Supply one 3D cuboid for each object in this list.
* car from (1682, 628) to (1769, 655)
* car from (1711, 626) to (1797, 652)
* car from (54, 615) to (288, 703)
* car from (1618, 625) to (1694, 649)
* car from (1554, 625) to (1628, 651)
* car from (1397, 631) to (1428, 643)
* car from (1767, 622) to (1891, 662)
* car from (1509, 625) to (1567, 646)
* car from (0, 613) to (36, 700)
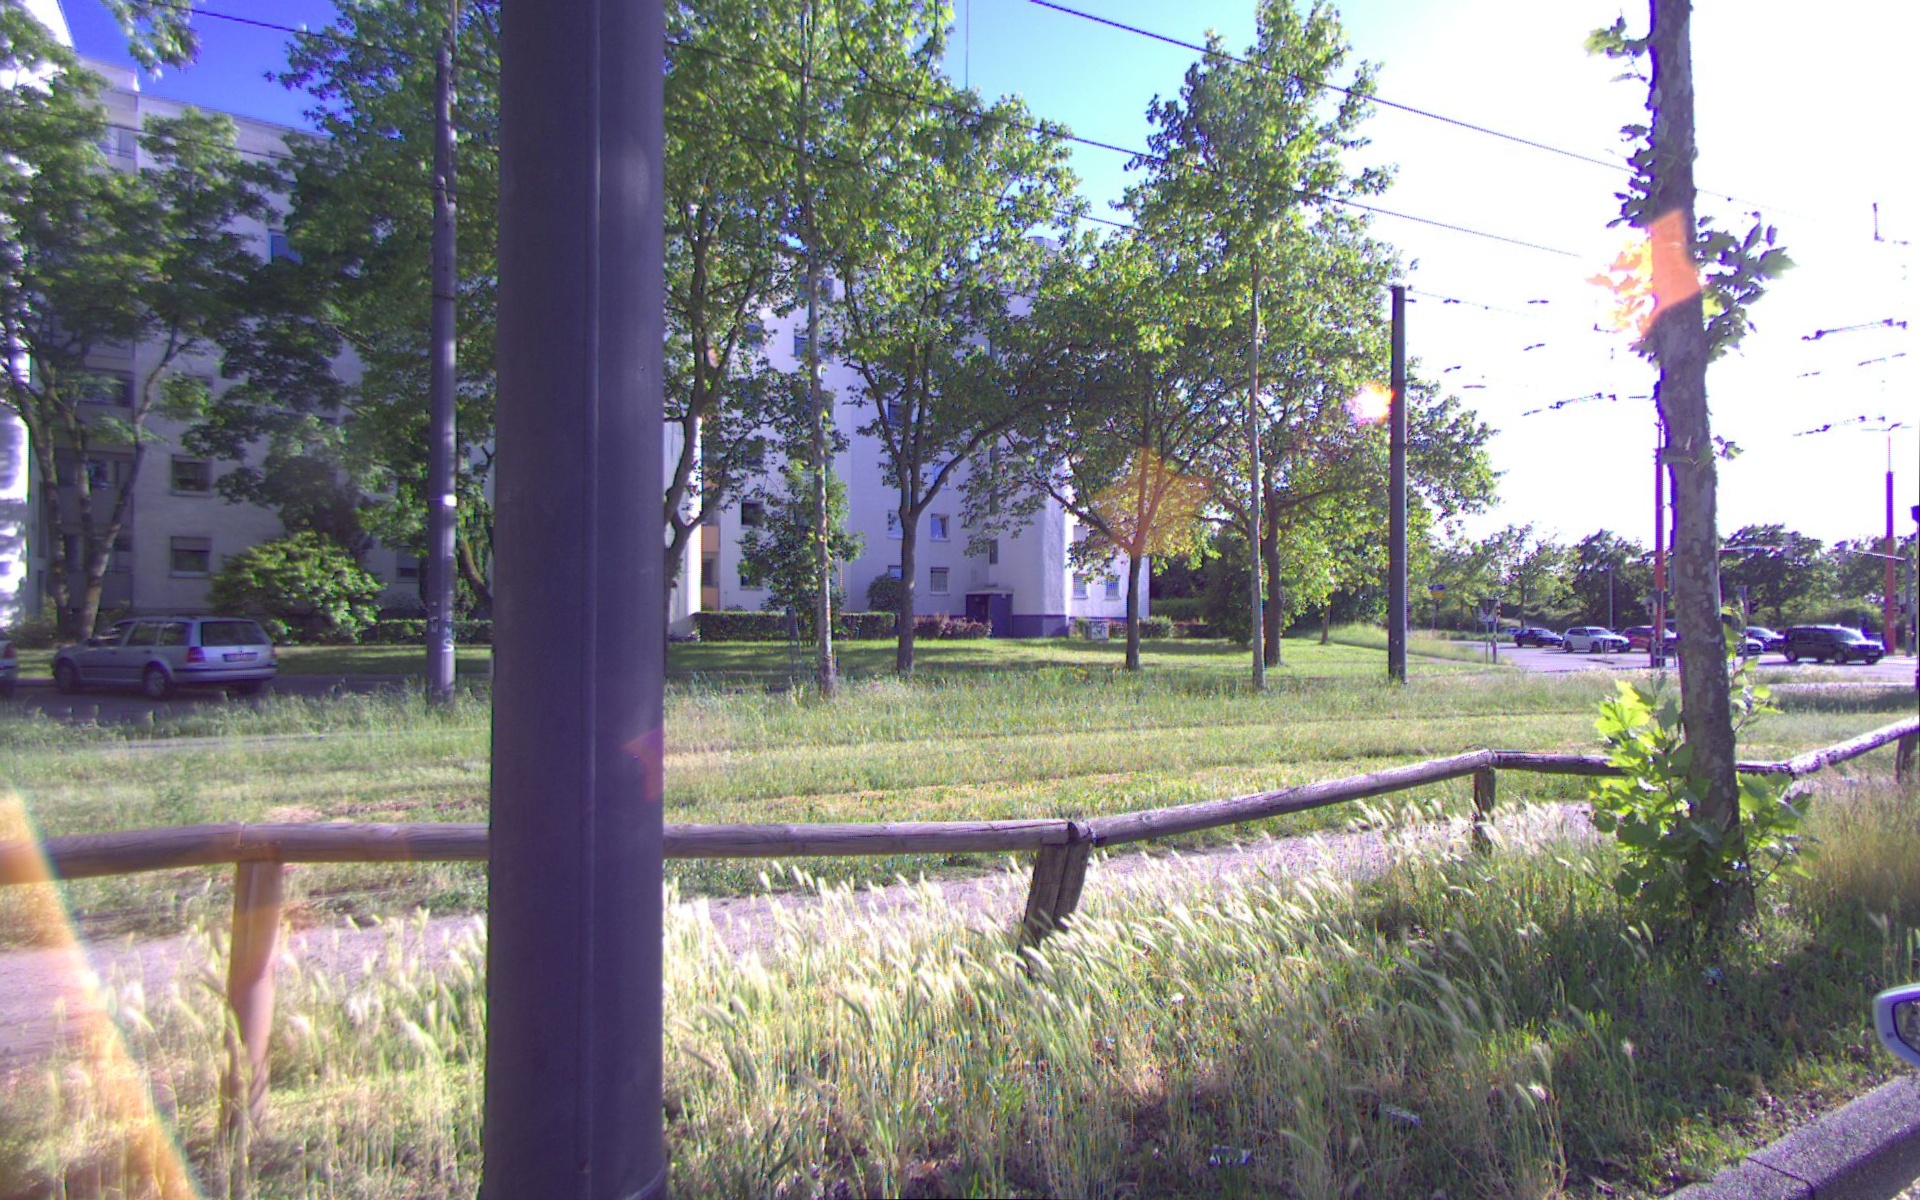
[{"bbox_3d":[45.650,2.466,60.032,1.877,1.483,4.222,1,-1,-2],"label":"car"},{"bbox_3d":[48.613,2.393,61.632,1.877,1.483,4.222,1,-1,-2],"label":"car"},{"bbox_3d":[-14.487,1.028,18.477,3.609,1.452,1.732,0,-1,20],"label":"car"},{"bbox_3d":[45.518,2.408,65.797,1.877,1.483,4.373,1,-1,-2],"label":"car"},{"bbox_3d":[42.367,2.531,67.609,1.877,1.619,4.795,1,-1,-2],"label":"car"},{"bbox_3d":[61.463,5.004,136.519,1.961,1.617,4.467,1,-1,-2],"label":"car"},{"bbox_3d":[42.590,2.018,49.393,1.877,1.860,4.795,1,-1,-2],"label":"car"},{"bbox_3d":[44.818,2.744,77.941,1.877,1.483,4.239,1,-1,-3],"label":"car"},{"bbox_3d":[-17.931,0.930,17.133,3.609,1.452,1.703,0,-1,20],"label":"car"}]
